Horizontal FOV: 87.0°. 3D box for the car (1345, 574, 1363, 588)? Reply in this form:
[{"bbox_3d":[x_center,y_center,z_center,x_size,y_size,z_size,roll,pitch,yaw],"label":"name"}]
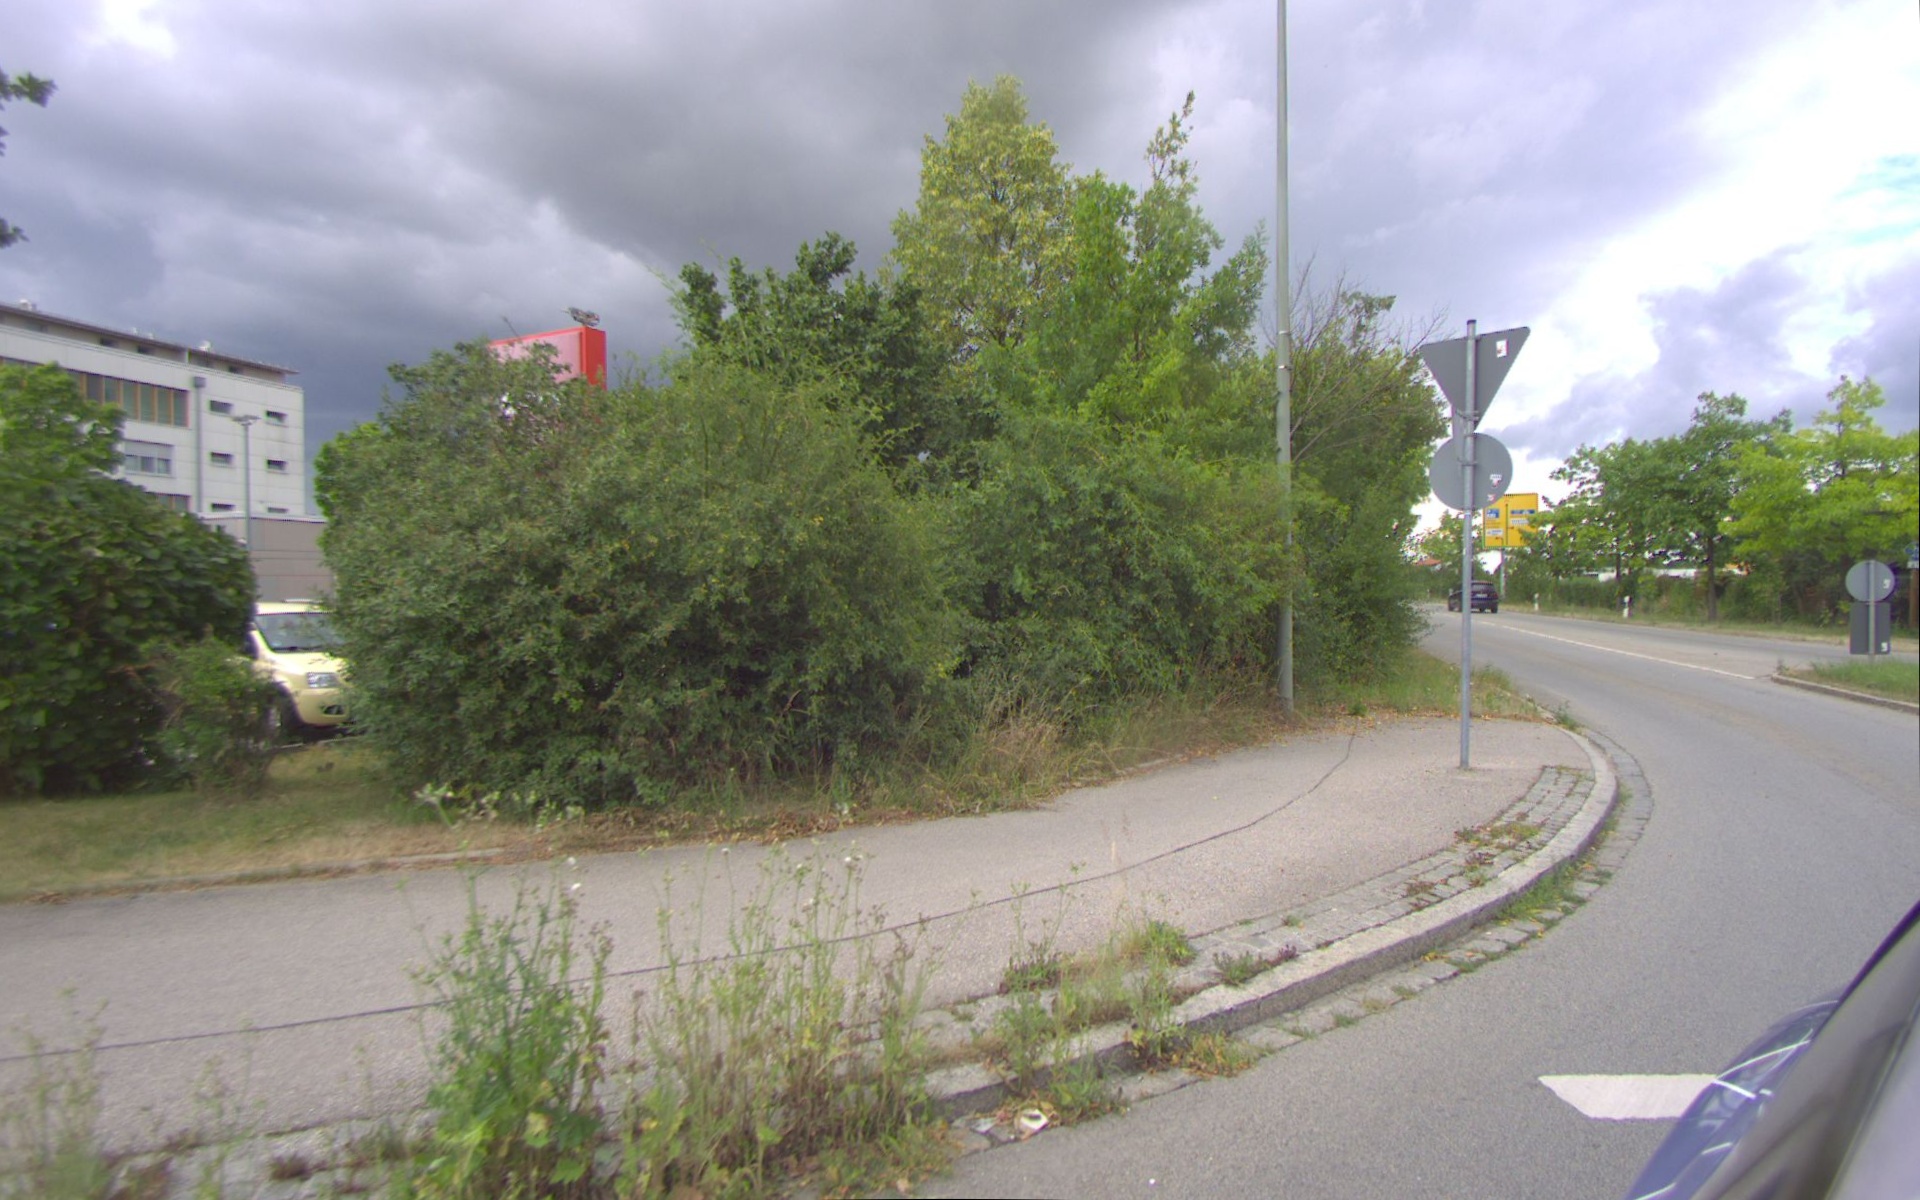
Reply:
[{"bbox_3d":[48.276,-2.341,123.946,1.715,1.553,4.073,2,2,17],"label":"car"}]

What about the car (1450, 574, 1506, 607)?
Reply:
[{"bbox_3d":[26.707,-0.509,52.294,1.719,1.605,4.335,2,2,16],"label":"car"}]

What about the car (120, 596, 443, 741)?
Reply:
[{"bbox_3d":[-8.584,0.752,12.771,3.900,1.576,1.746,0,0,27],"label":"car"}]
